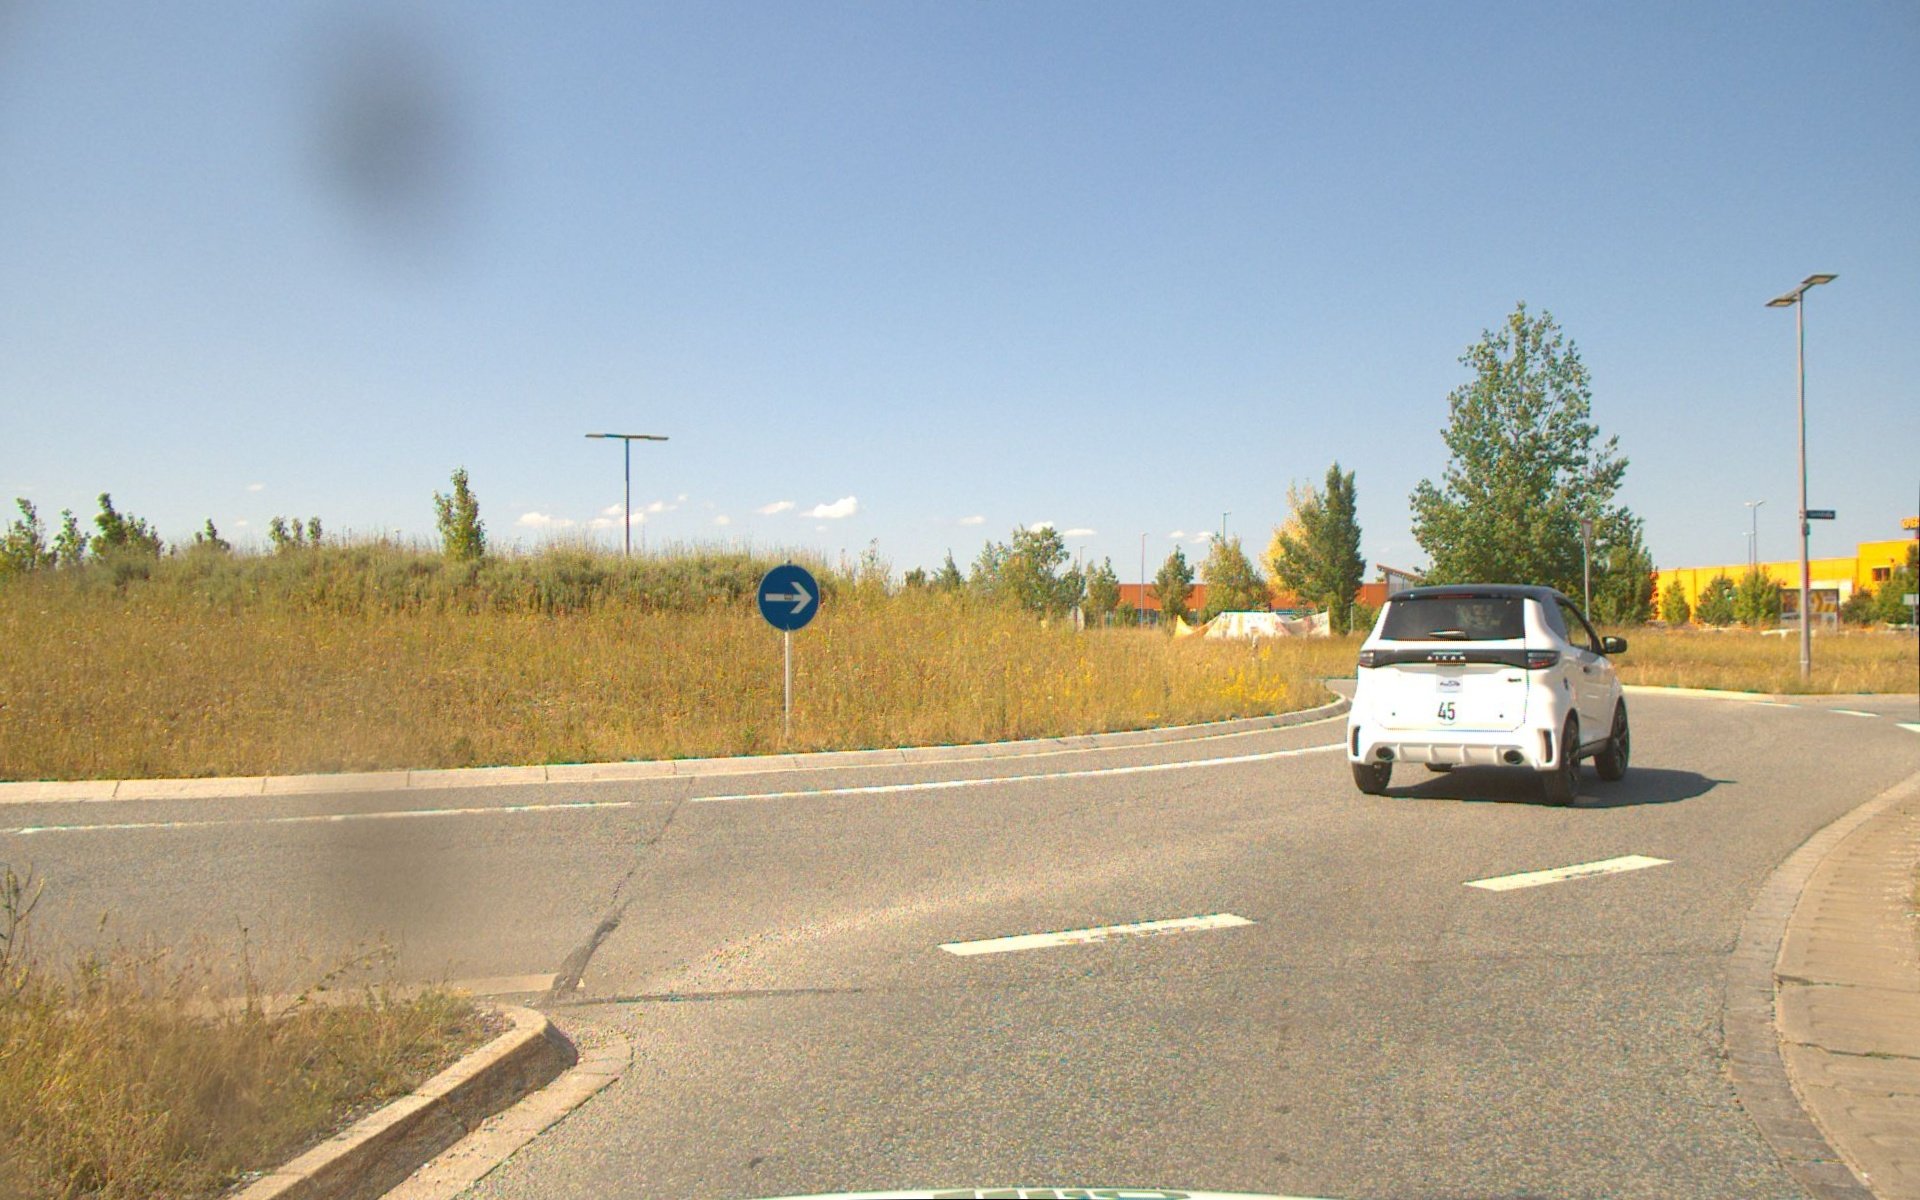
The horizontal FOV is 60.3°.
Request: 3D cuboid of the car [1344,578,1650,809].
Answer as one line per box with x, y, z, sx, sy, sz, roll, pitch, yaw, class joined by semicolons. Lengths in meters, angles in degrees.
4.141;0.580;12.454;1.482;1.465;3.343;1;1;31;car
